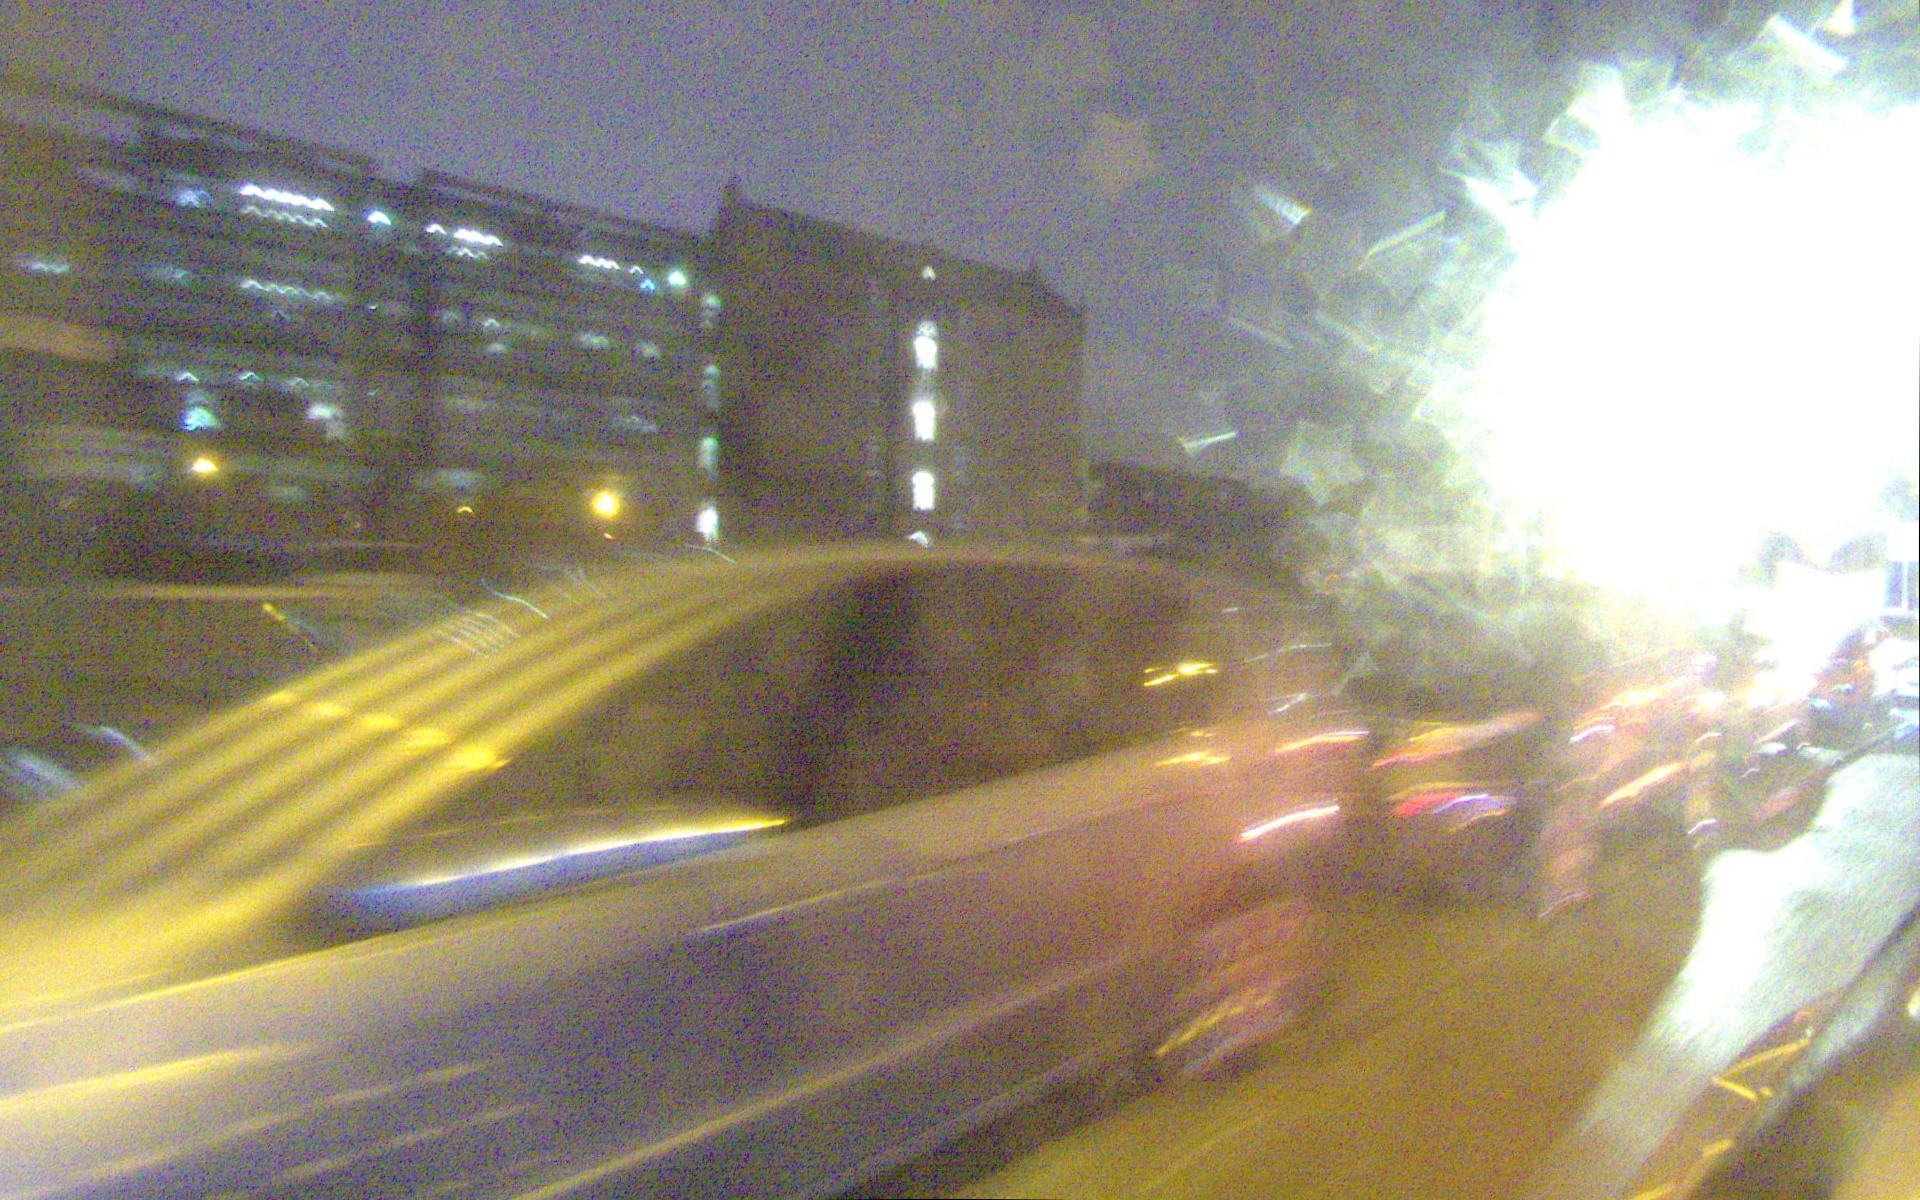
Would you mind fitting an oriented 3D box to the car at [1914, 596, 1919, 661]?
[{"bbox_3d":[24.183,0.713,23.965,4.707,1.466,1.794,0,4,-41],"label":"car"}]

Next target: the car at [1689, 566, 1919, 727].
[{"bbox_3d":[11.235,0.521,13.345,4.115,1.728,1.716,1,3,-42],"label":"car"}]

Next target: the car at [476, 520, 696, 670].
[{"bbox_3d":[-5.417,-0.131,14.350,1.717,1.811,4.077,1,2,-38],"label":"car"}]

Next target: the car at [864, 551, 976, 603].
[{"bbox_3d":[-1.372,-0.777,33.437,1.538,1.596,3.996,1,2,-40],"label":"car"}]

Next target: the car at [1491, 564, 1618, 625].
[{"bbox_3d":[18.071,-0.162,30.715,4.180,1.717,1.909,0,0,-38],"label":"car"}]

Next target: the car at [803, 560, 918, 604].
[{"bbox_3d":[-3.185,-0.593,31.931,1.615,1.265,3.996,1,2,-40],"label":"car"}]

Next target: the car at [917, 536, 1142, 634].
[{"bbox_3d":[1.126,-0.310,17.970,1.655,1.539,3.996,1,2,-40],"label":"car"}]

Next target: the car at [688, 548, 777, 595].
[{"bbox_3d":[-9.611,-1.229,42.469,1.872,1.827,4.666,0,2,-37],"label":"car"}]

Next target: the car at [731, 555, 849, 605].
[{"bbox_3d":[-5.120,-0.627,30.192,1.652,1.370,3.996,1,2,-40],"label":"car"}]

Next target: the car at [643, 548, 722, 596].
[{"bbox_3d":[-11.107,-1.159,40.404,1.674,1.802,3.999,1,2,-37],"label":"car"}]

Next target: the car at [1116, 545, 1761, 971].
[{"bbox_3d":[3.134,0.603,6.116,4.450,1.591,1.885,1,4,-42],"label":"car"}]

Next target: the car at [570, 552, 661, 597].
[{"bbox_3d":[-13.279,-1.008,38.862,1.959,1.608,4.602,0,3,-37],"label":"car"}]

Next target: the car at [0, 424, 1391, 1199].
[{"bbox_3d":[-0.853,0.537,2.682,4.509,1.591,1.885,1,4,-42],"label":"car"}]

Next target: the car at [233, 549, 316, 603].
[{"bbox_3d":[-22.134,-0.812,32.606,1.959,1.608,4.602,0,3,-37],"label":"car"}]

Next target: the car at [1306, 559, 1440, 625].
[{"bbox_3d":[10.105,-0.202,24.710,3.345,1.487,1.567,1,2,-38],"label":"car"}]

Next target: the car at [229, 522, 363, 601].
[{"bbox_3d":[-14.924,-0.867,22.649,1.799,1.584,4.152,1,2,-44],"label":"car"}]

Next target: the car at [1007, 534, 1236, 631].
[{"bbox_3d":[2.949,-0.373,19.284,1.655,1.637,4.227,1,2,-40],"label":"car"}]

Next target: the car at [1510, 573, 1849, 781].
[{"bbox_3d":[7.228,0.608,10.008,4.081,1.547,1.758,1,4,-41],"label":"car"}]

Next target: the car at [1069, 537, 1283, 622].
[{"bbox_3d":[4.479,-0.470,21.503,1.774,1.637,4.227,1,2,-40],"label":"car"}]

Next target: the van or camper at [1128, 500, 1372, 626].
[{"bbox_3d":[6.493,-0.836,23.247,2.131,2.558,5.079,1,2,-36],"label":"van or camper"}]

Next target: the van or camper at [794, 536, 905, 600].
[{"bbox_3d":[-4.897,-1.423,44.137,2.339,2.585,5.393,0,2,-38],"label":"van or camper"}]

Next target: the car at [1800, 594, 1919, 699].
[{"bbox_3d":[15.814,0.697,17.134,4.359,1.507,1.717,0,3,-41],"label":"car"}]

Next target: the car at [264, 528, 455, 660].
[{"bbox_3d":[-7.709,-0.131,12.846,1.591,1.417,3.696,1,2,-38],"label":"car"}]
